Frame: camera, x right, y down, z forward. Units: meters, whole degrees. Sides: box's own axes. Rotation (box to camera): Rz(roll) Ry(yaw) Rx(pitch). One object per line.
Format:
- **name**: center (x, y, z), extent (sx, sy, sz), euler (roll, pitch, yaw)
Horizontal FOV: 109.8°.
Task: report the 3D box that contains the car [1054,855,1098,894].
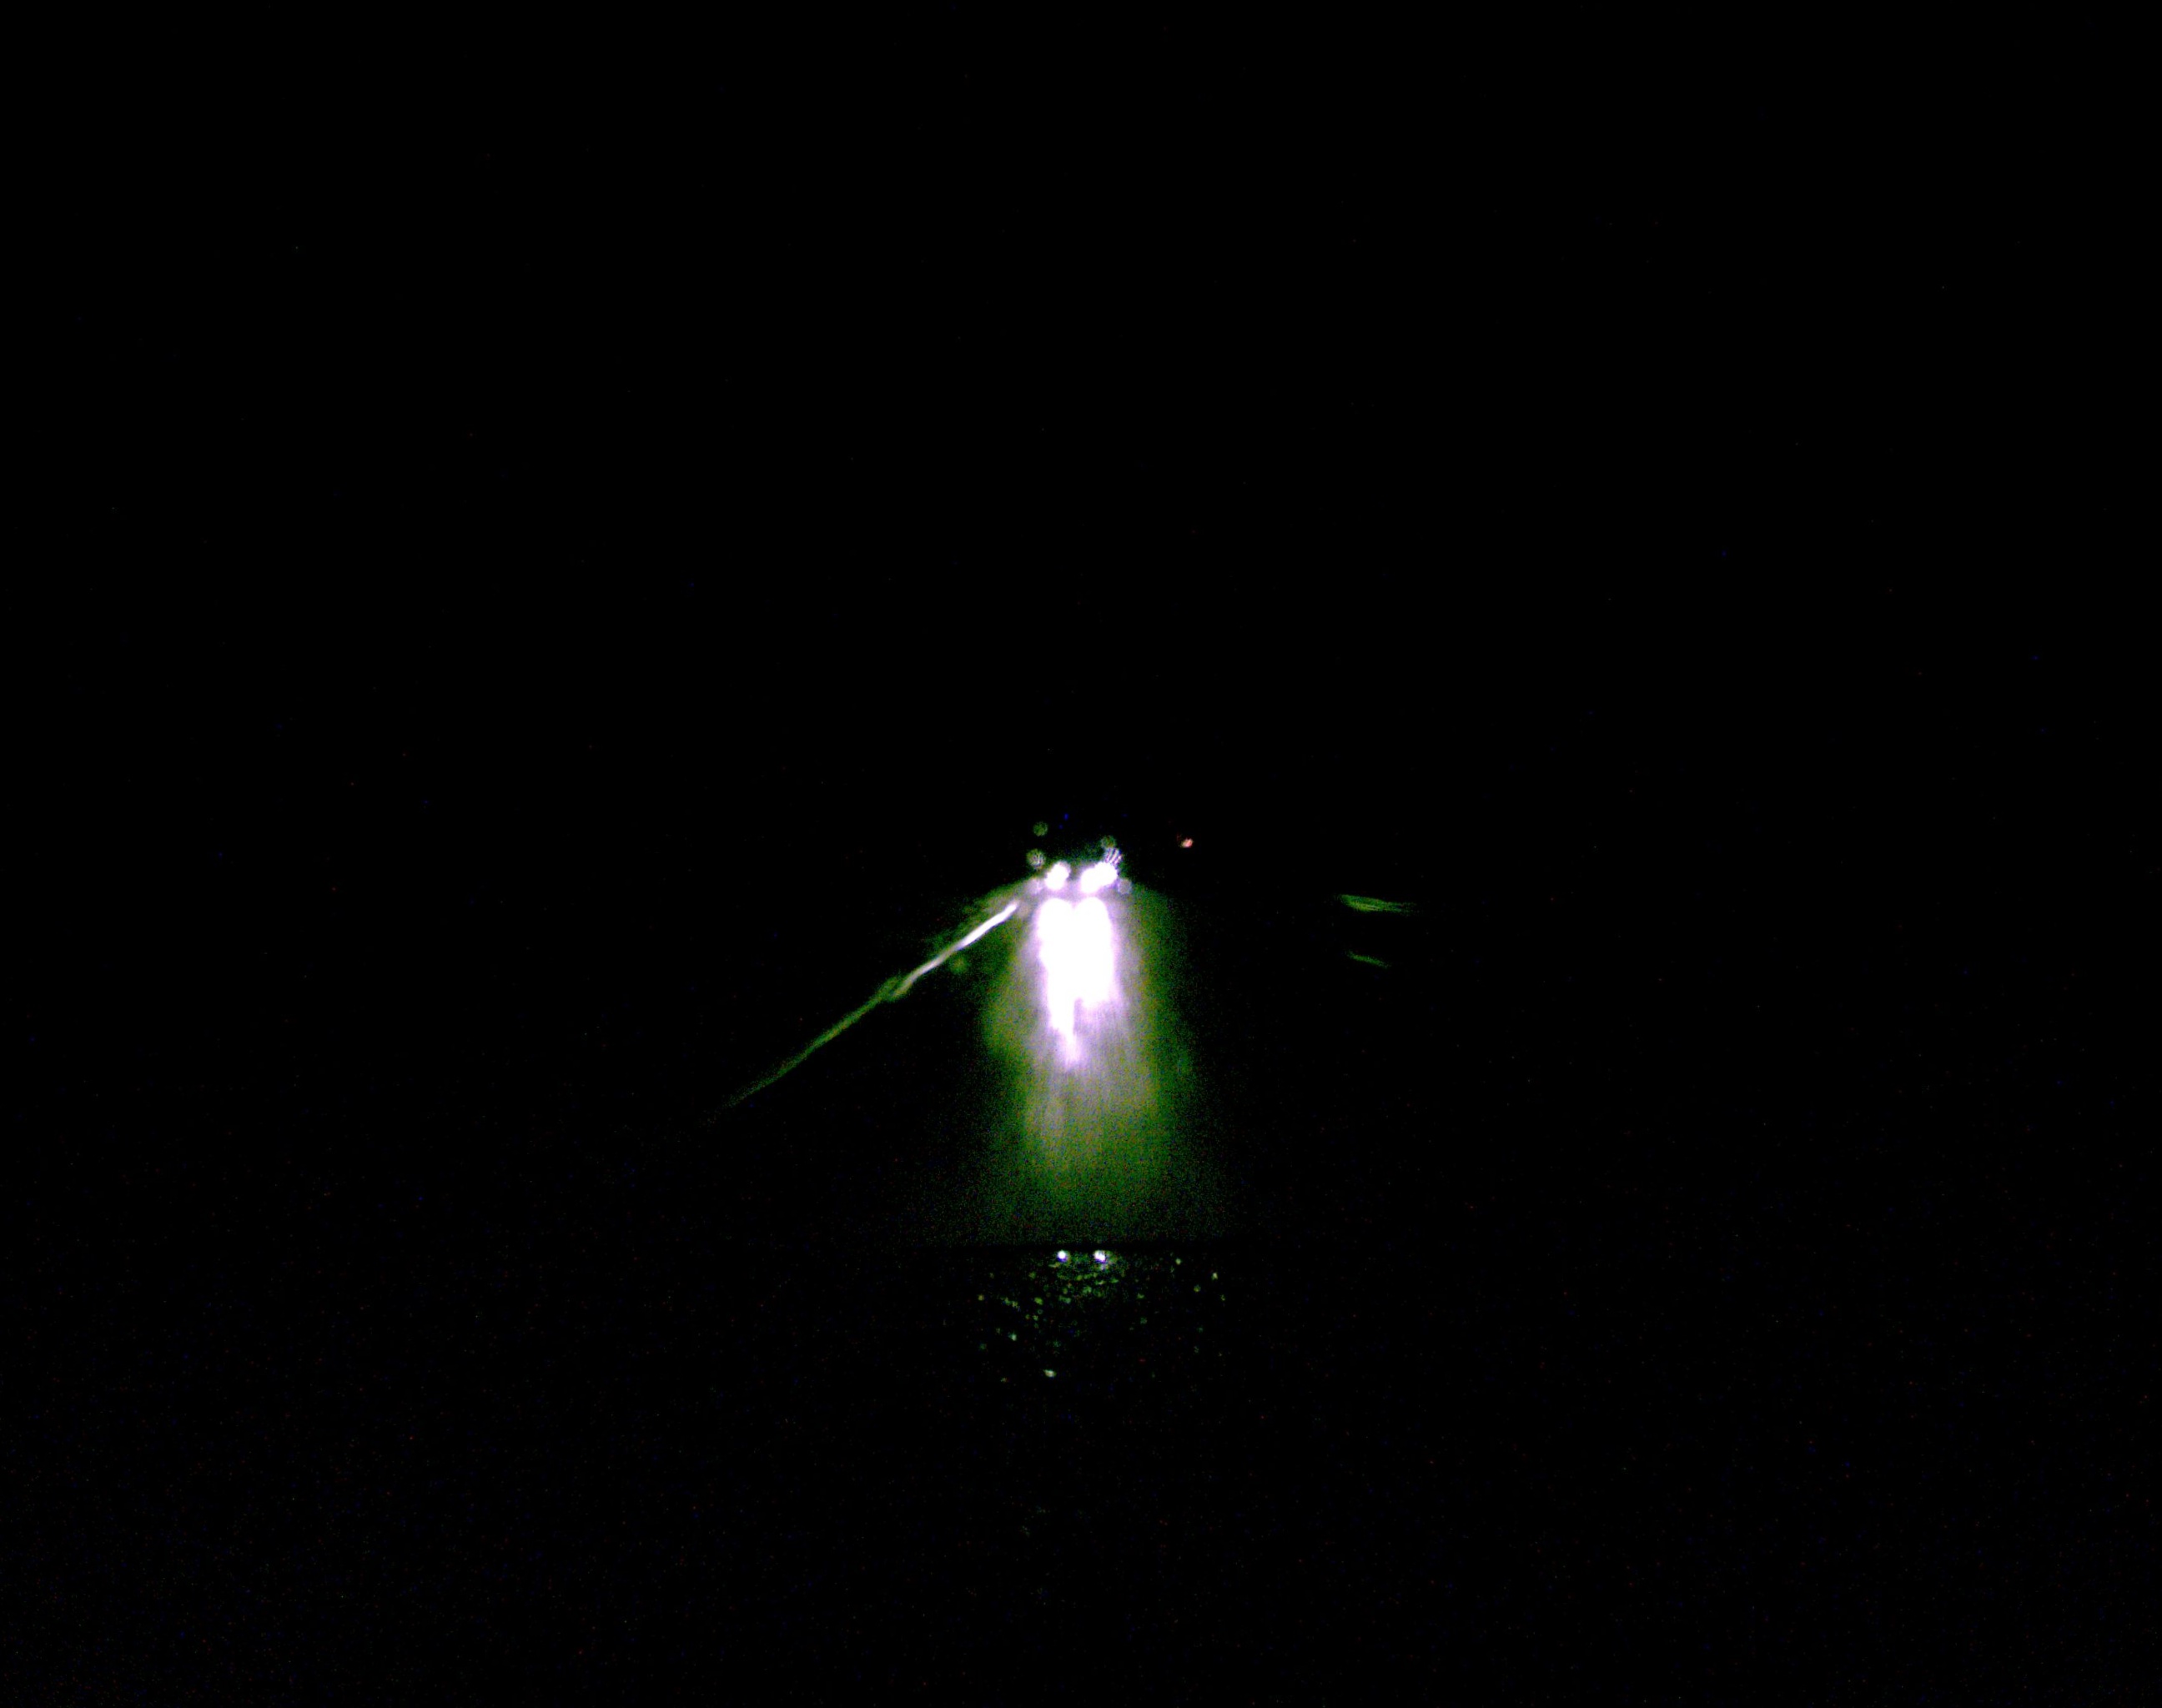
- **car**: center (-0.226, 0.857, 32.920), extent (1.793, 1.593, 4.000), euler (0, -1, 0)
